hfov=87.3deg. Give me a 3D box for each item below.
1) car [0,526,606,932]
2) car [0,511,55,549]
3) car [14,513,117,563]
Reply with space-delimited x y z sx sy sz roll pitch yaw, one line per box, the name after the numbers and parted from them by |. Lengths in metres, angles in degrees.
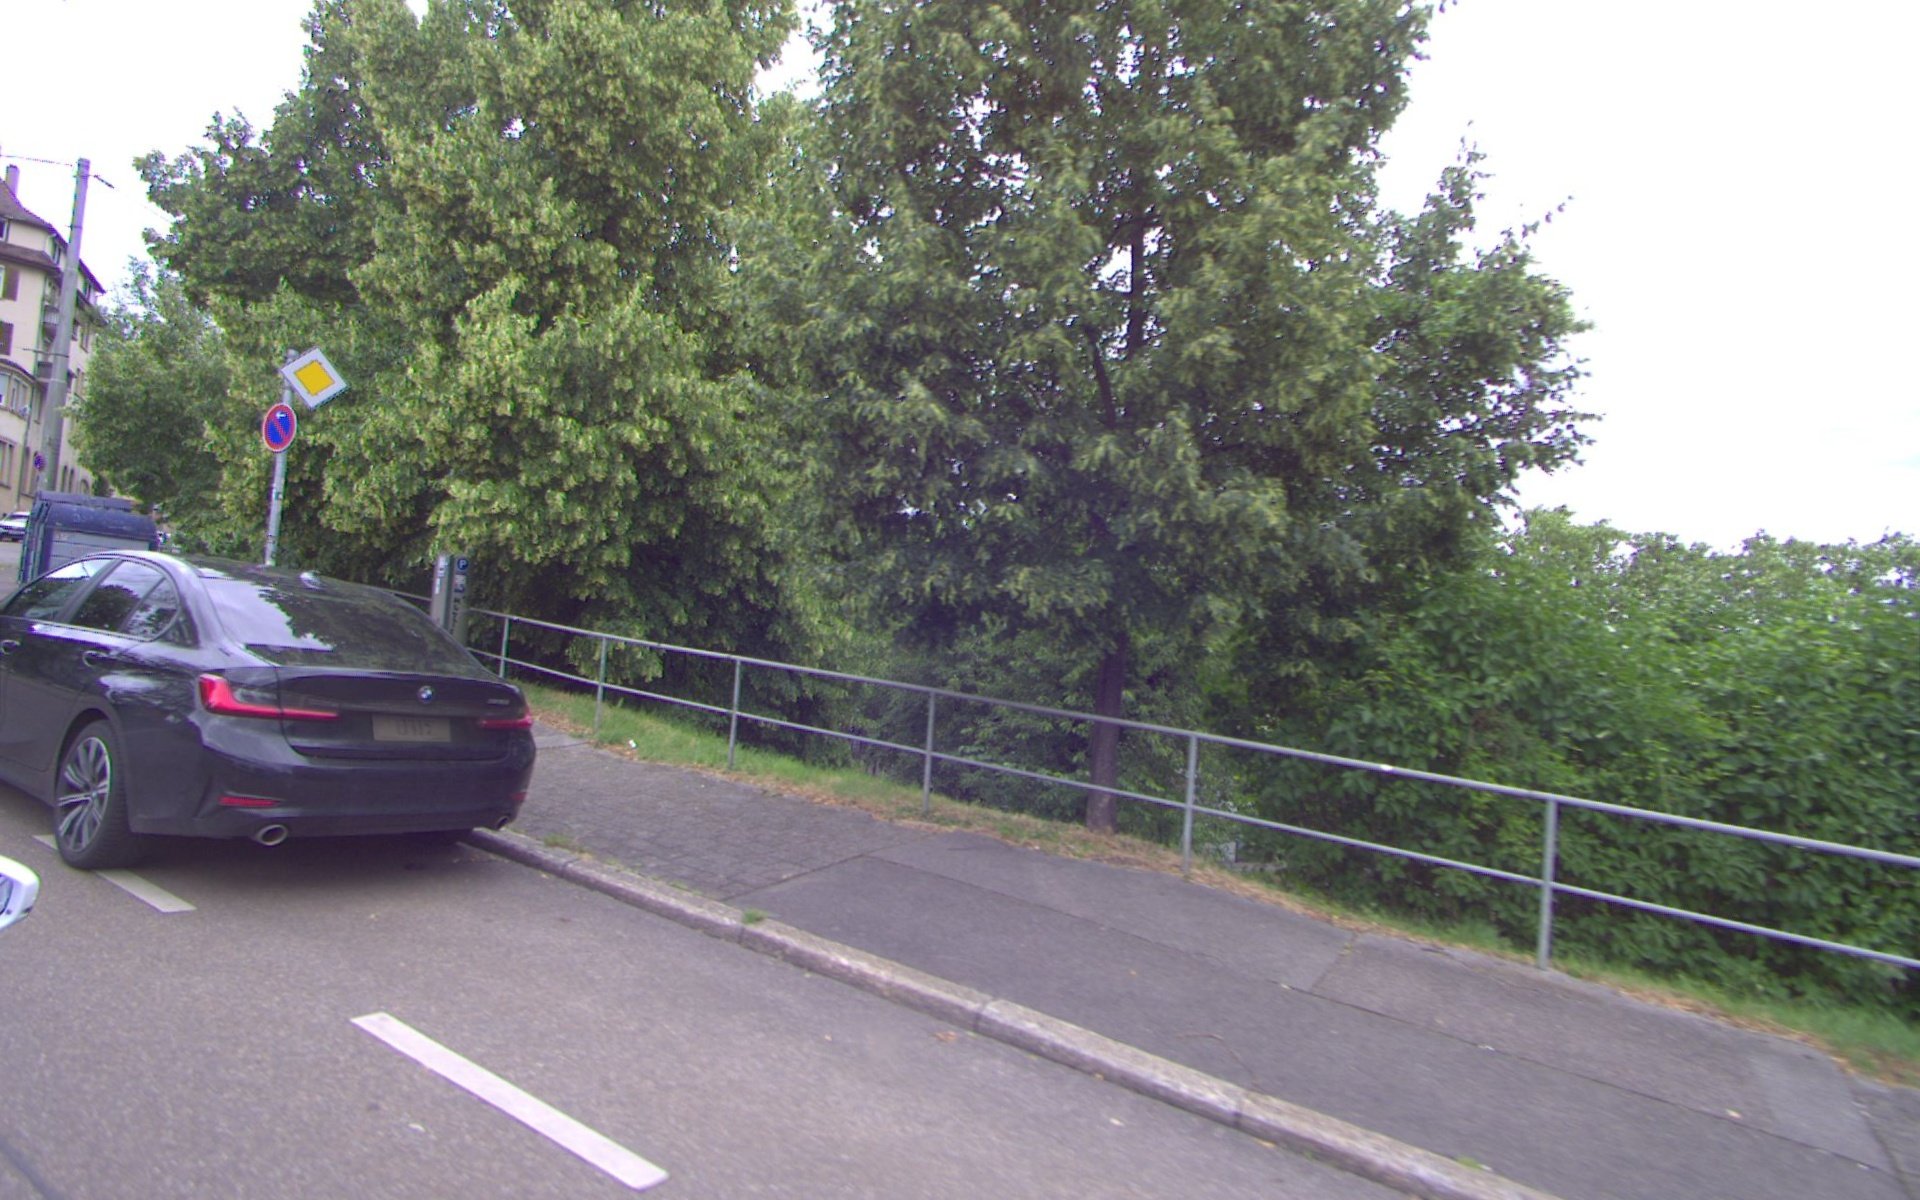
-4.515 0.462 5.917 4.766 1.445 1.833 6 -4 31 | car
-47.915 -3.581 51.248 1.981 1.569 3.966 8 -3 -33 | car
-34.843 -2.372 39.330 1.979 1.496 4.432 8 -3 -30 | car
